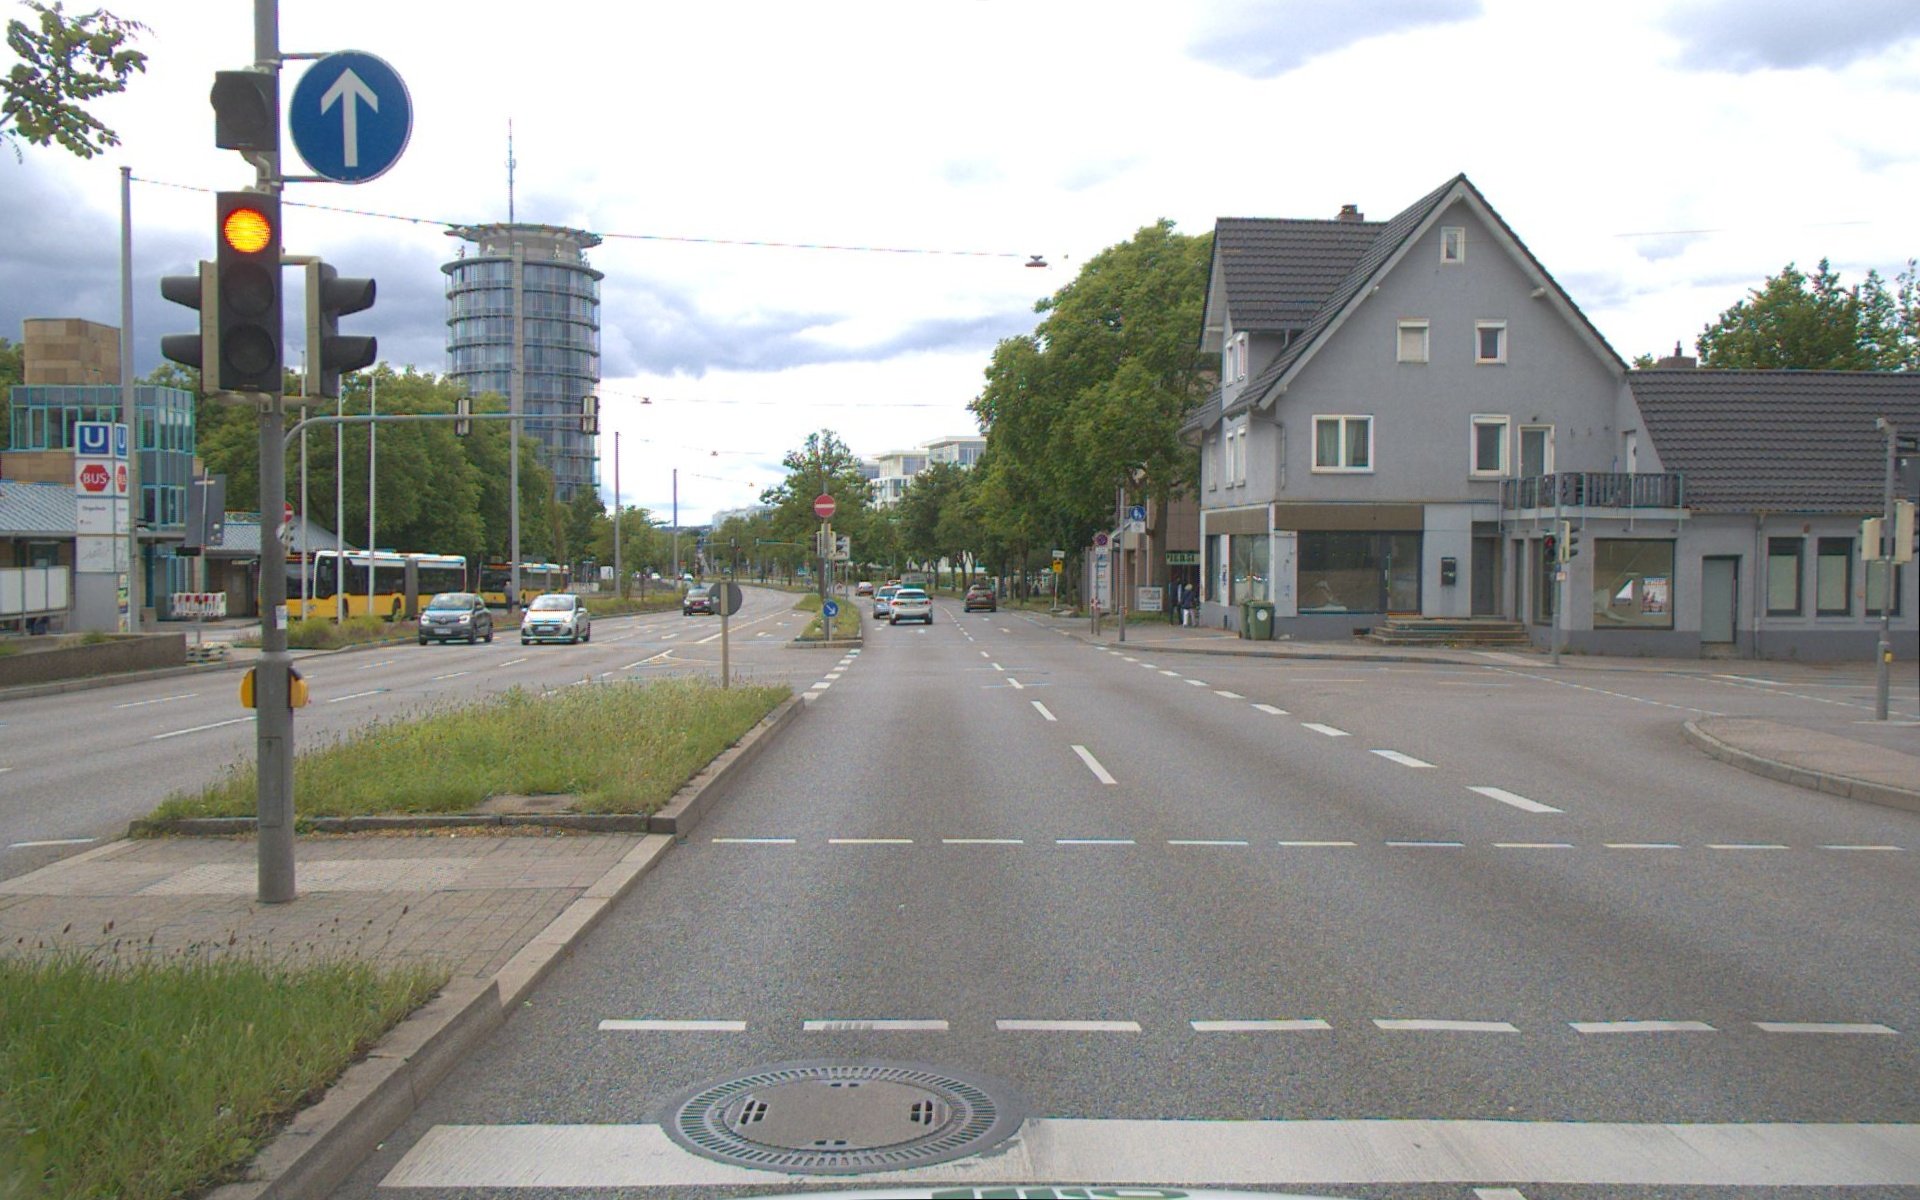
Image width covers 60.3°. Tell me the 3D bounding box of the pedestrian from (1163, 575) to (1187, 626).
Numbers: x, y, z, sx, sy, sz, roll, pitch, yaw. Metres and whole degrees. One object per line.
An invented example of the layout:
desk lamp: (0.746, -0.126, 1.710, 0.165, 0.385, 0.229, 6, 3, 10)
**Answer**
pedestrian: (7.769, 0.008, 59.823, 0.690, 1.811, 0.870, -1, 0, 20)

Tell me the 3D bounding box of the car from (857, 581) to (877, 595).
car: (-9.707, -1.261, 173.019, 1.929, 1.444, 4.017, 0, 0, -6)

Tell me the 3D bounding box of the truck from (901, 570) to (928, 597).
truck: (-4.337, -1.536, 156.421, 2.207, 2.459, 4.927, 0, 0, -5)

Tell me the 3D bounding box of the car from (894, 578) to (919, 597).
car: (-5.389, -1.244, 164.998, 2.207, 1.787, 4.927, 0, 0, -5)

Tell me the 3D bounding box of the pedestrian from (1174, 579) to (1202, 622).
pedestrian: (8.137, 0.019, 59.011, 0.692, 1.533, 0.869, -1, 0, 28)

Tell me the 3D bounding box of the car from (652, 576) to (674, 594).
car: (-35.891, -1.831, 199.741, 1.925, 2.049, 3.999, 1, 0, -1)

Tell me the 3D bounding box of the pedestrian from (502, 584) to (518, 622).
pedestrian: (-23.421, 0.155, 86.025, 0.654, 1.930, 0.679, 0, 0, -30)

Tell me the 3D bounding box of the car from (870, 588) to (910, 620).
car: (-3.452, 0.195, 81.842, 1.785, 1.567, 4.114, 0, 0, 0)

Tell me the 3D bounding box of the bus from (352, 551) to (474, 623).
bus: (-26.543, -0.612, 80.715, 2.927, 3.327, 7.879, -1, 0, 3)

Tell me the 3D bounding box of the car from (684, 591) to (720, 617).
car: (-15.195, 0.214, 97.429, 1.668, 1.518, 3.560, -1, 0, -2)

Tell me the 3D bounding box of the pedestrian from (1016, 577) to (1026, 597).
pedestrian: (4.925, -1.014, 133.441, 0.638, 1.597, 0.669, 0, 0, -9)

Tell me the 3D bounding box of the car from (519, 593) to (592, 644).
car: (-12.365, 0.551, 50.721, 1.651, 1.488, 3.552, 0, 0, -5)

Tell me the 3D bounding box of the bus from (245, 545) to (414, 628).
bus: (-27.081, -0.559, 71.691, 2.927, 3.307, 10.174, -1, 0, 3)

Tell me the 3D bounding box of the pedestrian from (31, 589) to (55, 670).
pedestrian: (-18.374, 0.582, 33.149, 0.414, 1.619, 0.353, 0, 0, -30)

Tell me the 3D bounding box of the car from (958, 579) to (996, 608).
car: (0.945, -0.351, 93.596, 1.851, 1.521, 4.096, -1, -1, -3)

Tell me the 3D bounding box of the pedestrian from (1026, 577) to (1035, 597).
pedestrian: (5.670, -1.027, 133.379, 0.638, 1.597, 0.669, 0, 0, -9)

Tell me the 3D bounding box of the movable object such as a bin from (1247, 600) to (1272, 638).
movable object such as a bin: (7.996, 0.497, 44.155, 0.518, 0.997, 0.736, 0, 0, -1)

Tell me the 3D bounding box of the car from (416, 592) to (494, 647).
car: (-15.474, 0.566, 50.810, 1.652, 1.606, 3.344, 0, 0, -6)

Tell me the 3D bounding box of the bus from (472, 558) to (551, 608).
bus: (-30.778, -1.117, 114.010, 3.082, 3.281, 10.279, 0, 0, -3)

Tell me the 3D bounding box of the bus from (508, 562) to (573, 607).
bus: (-31.139, -1.132, 123.008, 3.081, 3.281, 7.762, 0, 0, -2)

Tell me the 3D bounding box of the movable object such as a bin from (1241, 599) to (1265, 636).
movable object such as a bin: (7.966, 0.477, 44.945, 0.518, 0.997, 0.736, 0, 0, -1)

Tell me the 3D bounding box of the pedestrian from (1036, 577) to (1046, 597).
pedestrian: (6.510, -1.053, 133.232, 0.638, 1.597, 0.669, 0, 0, -9)

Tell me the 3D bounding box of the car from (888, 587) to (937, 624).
car: (-1.982, 0.219, 70.527, 1.953, 1.503, 4.256, -1, 0, 0)

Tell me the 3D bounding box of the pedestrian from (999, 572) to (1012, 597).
pedestrian: (3.878, -1.325, 140.813, 0.951, 2.049, 0.981, 1, -1, -2)
